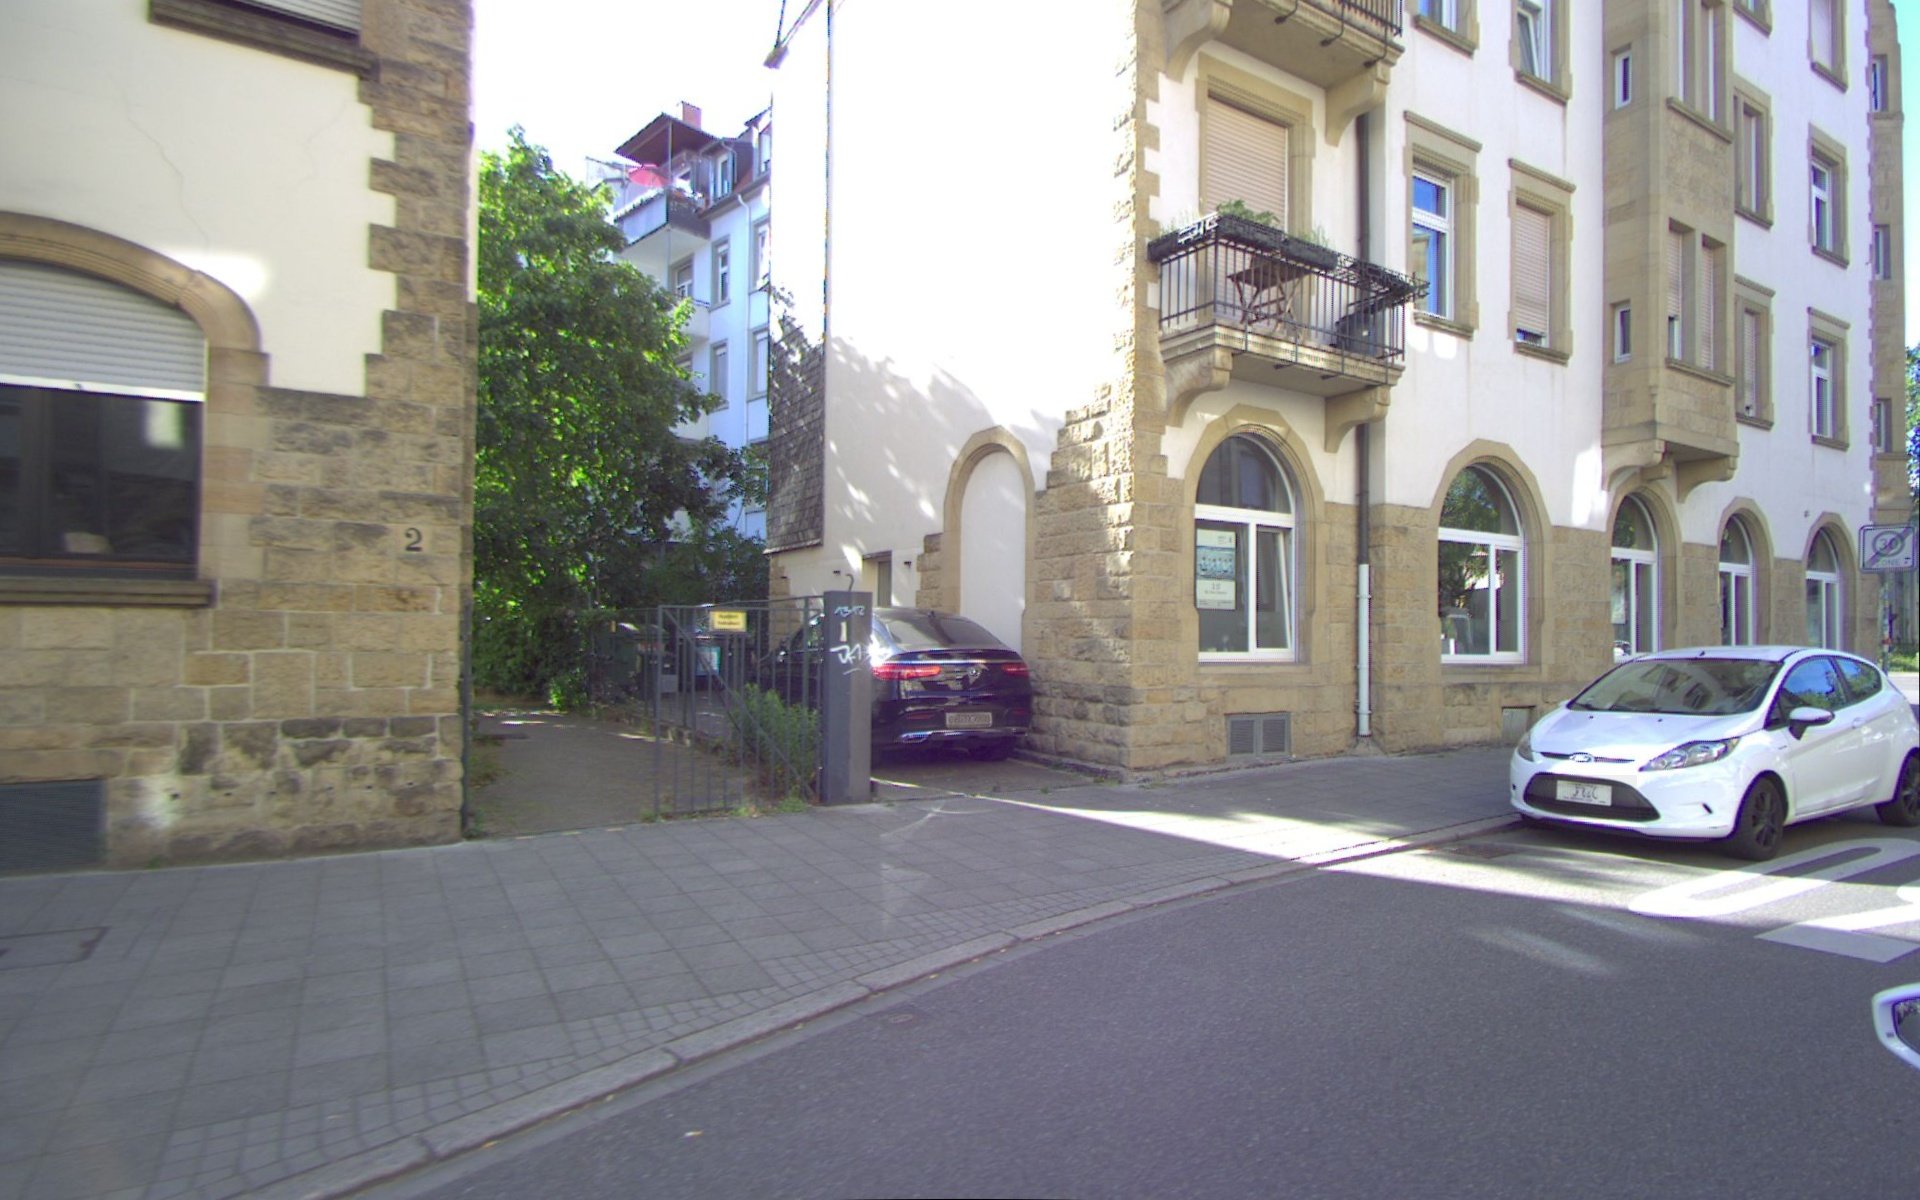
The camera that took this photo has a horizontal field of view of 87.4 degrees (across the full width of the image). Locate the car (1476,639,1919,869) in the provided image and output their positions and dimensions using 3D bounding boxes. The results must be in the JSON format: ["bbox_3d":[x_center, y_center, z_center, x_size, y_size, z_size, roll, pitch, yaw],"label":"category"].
[{"bbox_3d":[6.106,1.069,8.156,3.688,1.483,1.627,1,-2,-28],"label":"car"}]

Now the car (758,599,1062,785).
[{"bbox_3d":[-0.761,0.941,11.686,1.888,1.750,3.948,1,-2,-32],"label":"car"}]
